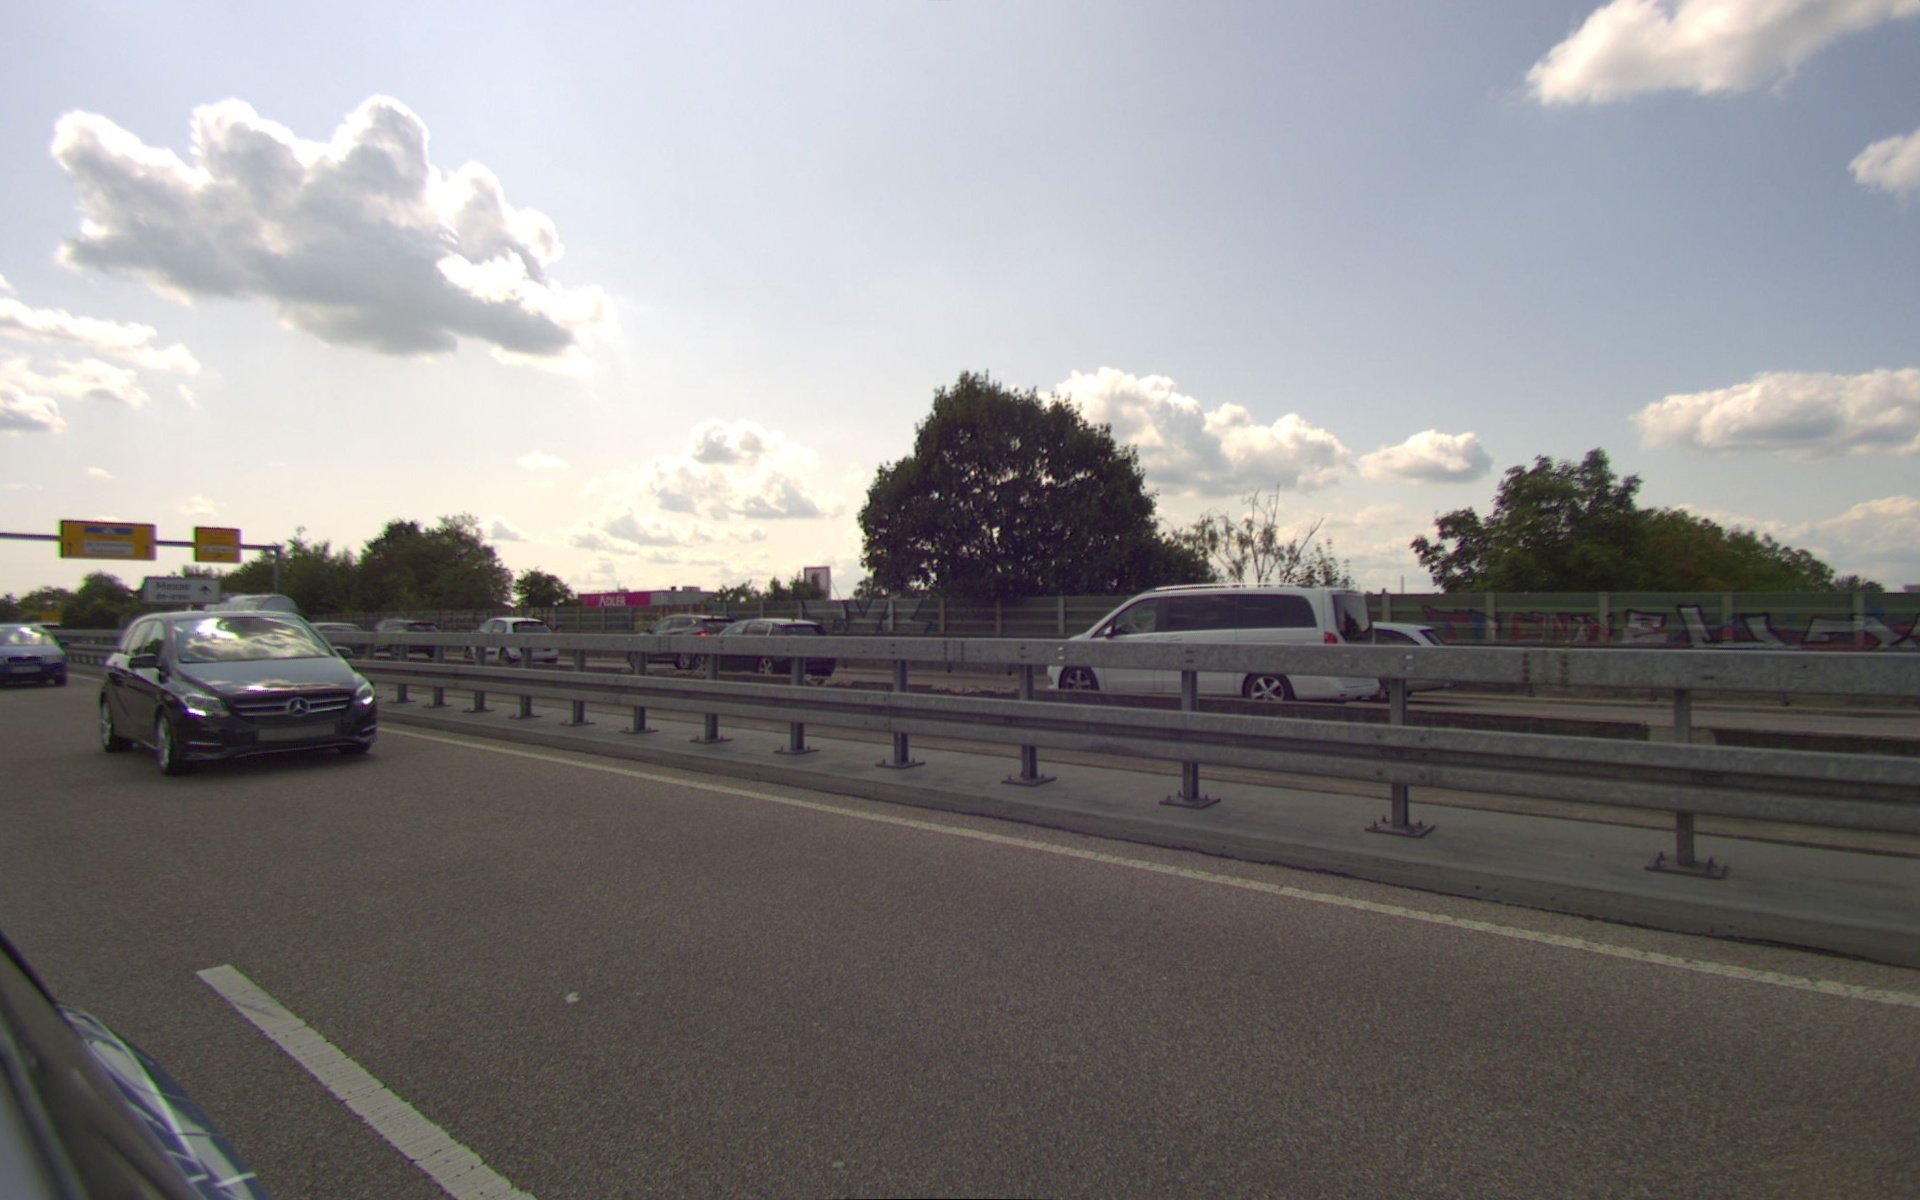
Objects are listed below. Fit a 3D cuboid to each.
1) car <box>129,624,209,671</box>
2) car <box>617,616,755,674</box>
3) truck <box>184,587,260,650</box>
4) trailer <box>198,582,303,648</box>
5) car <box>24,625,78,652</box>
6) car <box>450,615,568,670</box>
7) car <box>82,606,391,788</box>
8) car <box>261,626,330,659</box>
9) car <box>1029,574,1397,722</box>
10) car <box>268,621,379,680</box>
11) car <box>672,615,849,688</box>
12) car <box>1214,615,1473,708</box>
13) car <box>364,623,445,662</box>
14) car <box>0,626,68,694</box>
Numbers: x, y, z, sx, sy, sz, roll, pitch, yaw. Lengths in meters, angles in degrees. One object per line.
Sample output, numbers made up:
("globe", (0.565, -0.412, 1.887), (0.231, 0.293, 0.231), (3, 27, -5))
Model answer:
("car", (-34.738, 2.025, 44.408), (4.236, 1.871, 1.973), (-1, 0, 41))
("car", (-8.314, 1.321, 30.531), (4.279, 1.586, 1.905), (-2, -1, 39))
("truck", (-47.558, 1.168, 65.161), (6.229, 3.810, 2.621), (-1, 0, 41))
("trailer", (-43.009, 0.914, 61.170), (11.024, 3.697, 2.656), (-1, 0, 42))
("car", (-63.682, 2.696, 70.854), (4.589, 1.763, 1.975), (-1, 0, 37))
("car", (-14.367, 1.298, 32.165), (3.883, 1.586, 1.905), (-1, 0, 40))
("car", (-7.942, 0.878, 10.922), (4.590, 1.539, 1.694), (-1, 0, 41))
("car", (-32.534, 2.046, 49.503), (3.957, 1.520, 1.765), (-1, 0, 41))
("car", (3.782, 0.701, 15.747), (5.185, 1.940, 1.941), (-2, 0, 39))
("car", (-19.399, 1.516, 30.797), (3.737, 1.635, 1.710), (-3, -1, 39))
("car", (-4.804, 1.182, 24.121), (4.241, 1.586, 1.904), (-1, -2, 40))
("car", (7.302, 1.109, 19.503), (4.279, 1.586, 1.905), (-2, -1, 39))
("car", (-24.424, 1.842, 44.436), (4.279, 1.632, 1.697), (-1, -3, 41))
("car", (-22.151, 1.357, 23.559), (3.769, 1.422, 1.604), (-1, 0, 41))
